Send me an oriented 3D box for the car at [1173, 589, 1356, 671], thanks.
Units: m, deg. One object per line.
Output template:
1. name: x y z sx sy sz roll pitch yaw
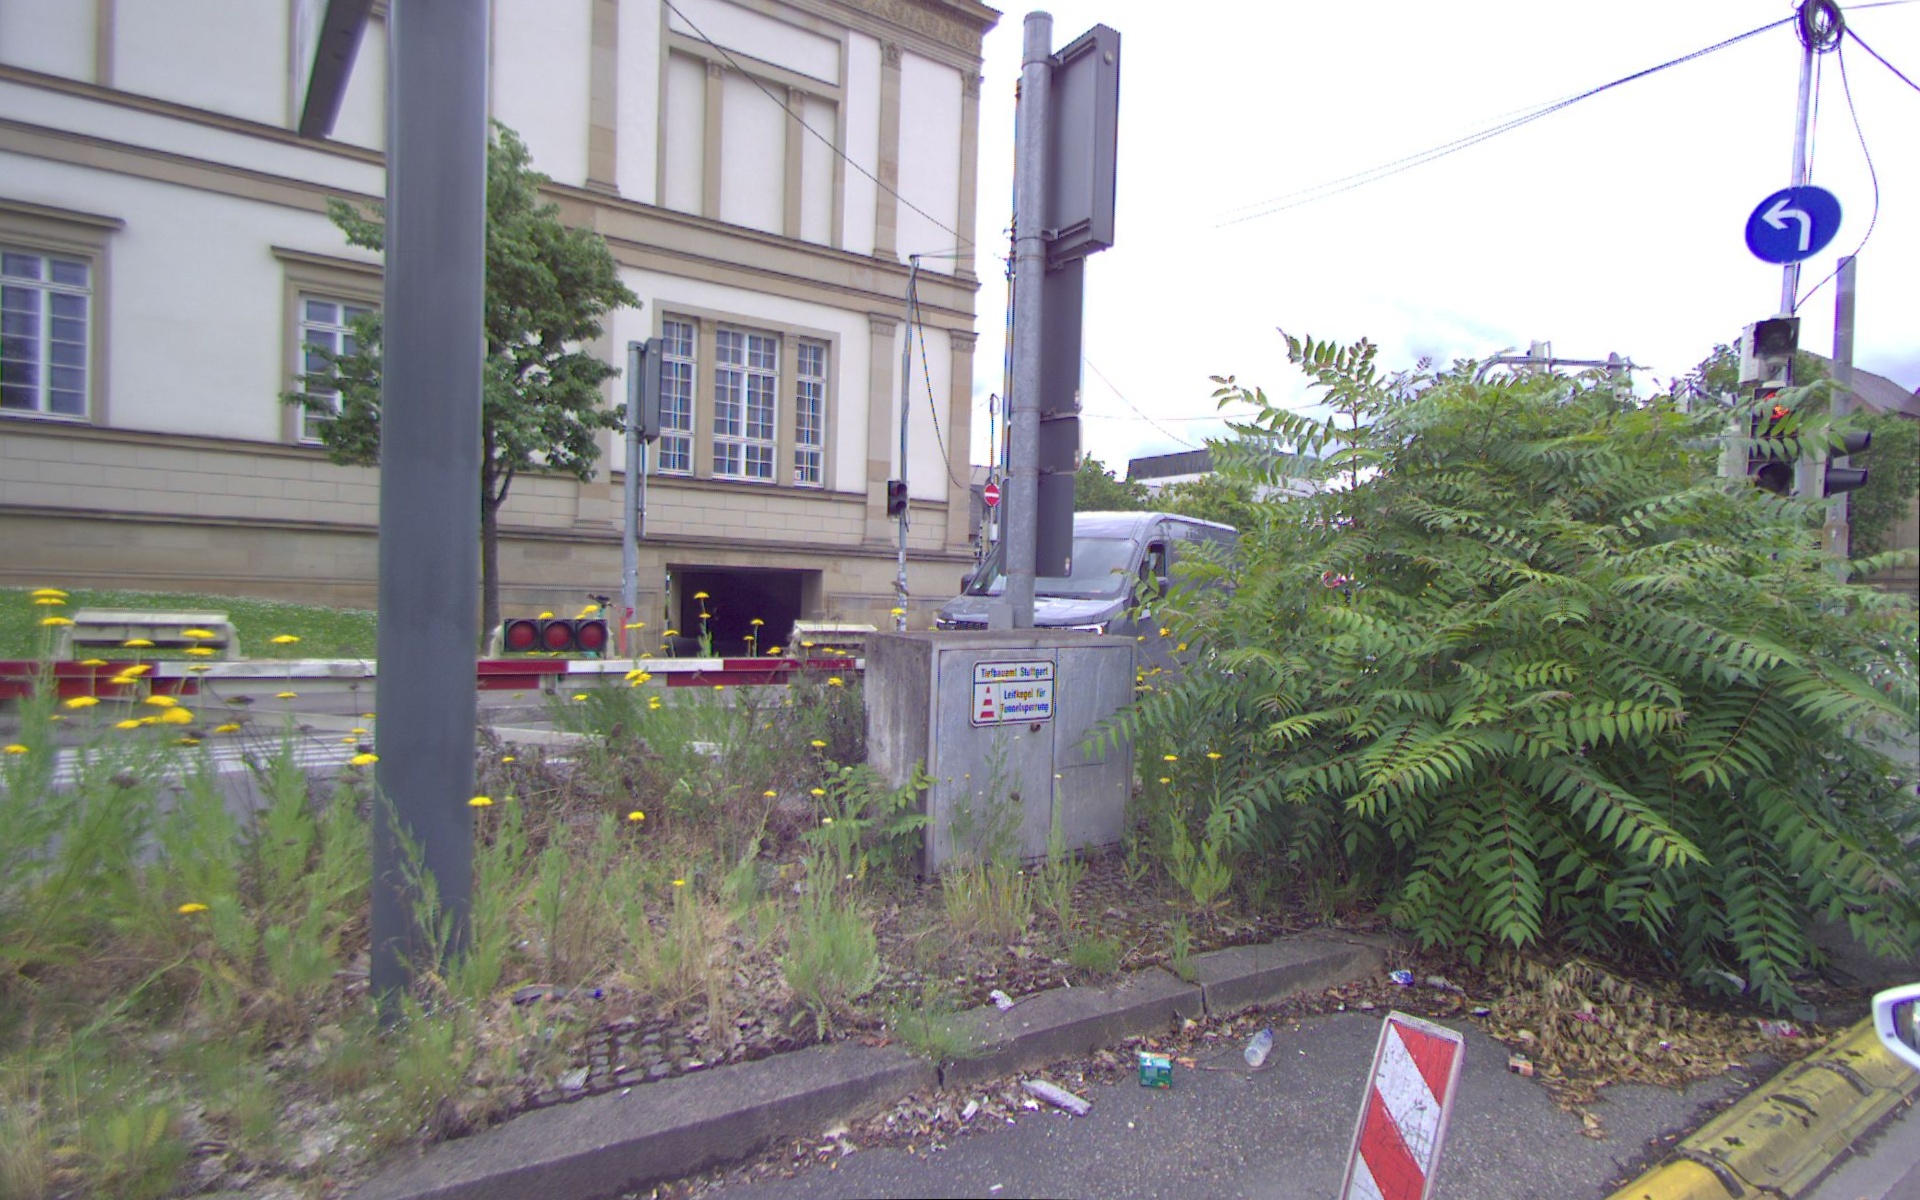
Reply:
1. car: 7.066 0.649 23.688 1.886 1.763 3.972 2 0 -27

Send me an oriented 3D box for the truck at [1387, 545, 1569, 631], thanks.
1. truck: 32.279 -0.749 63.020 3.091 5.026 9.625 2 0 -42

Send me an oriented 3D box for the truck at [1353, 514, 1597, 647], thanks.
1. truck: 11.918 -0.397 23.485 2.830 2.761 4.183 2 0 -31

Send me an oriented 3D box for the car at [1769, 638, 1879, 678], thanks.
1. car: 44.009 2.932 51.295 4.095 1.747 1.901 2 0 38

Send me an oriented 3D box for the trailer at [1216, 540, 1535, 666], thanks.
1. trailer: 10.365 0.069 25.947 2.831 2.761 7.308 2 0 -32

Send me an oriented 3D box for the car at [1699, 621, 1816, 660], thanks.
1. car: 40.122 1.990 50.664 4.526 1.747 1.901 2 0 37

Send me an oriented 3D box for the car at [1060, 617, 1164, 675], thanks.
1. car: 5.851 1.740 39.063 1.975 2.040 3.970 2 0 -28

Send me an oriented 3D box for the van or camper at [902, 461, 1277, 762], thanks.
1. van or camper: 1.918 0.106 11.984 2.122 2.645 6.069 1 0 31

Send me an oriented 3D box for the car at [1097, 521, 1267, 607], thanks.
1. car: 4.953 -0.749 22.963 1.808 1.728 3.978 2 0 -23
